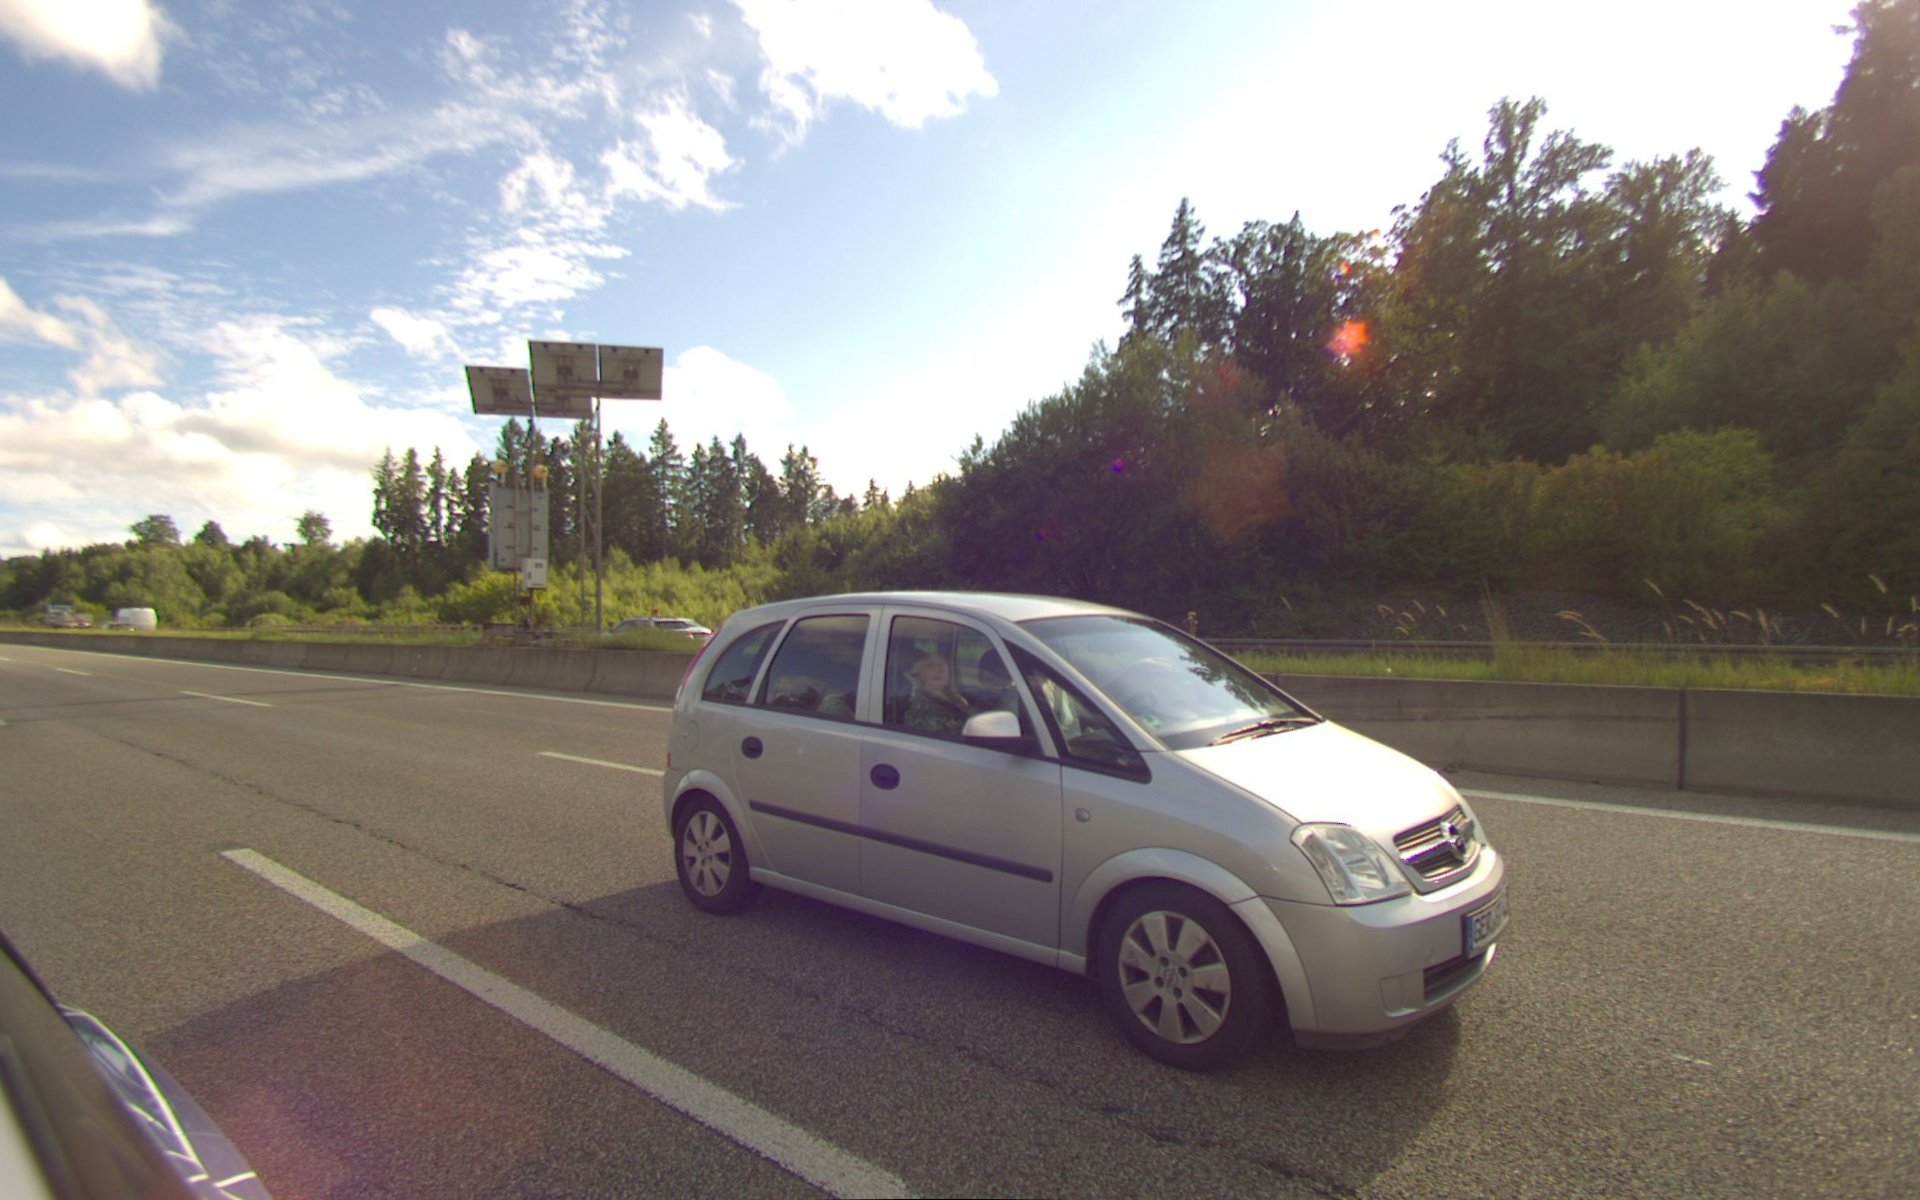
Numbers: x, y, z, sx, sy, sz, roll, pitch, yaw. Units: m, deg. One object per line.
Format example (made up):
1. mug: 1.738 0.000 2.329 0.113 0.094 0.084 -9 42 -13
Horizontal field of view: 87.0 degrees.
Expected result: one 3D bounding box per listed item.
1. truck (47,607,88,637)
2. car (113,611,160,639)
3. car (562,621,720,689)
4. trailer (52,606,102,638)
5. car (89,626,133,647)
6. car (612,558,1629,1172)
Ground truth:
1. truck: -115.336 2.836 130.731 7.119 3.867 3.082 -1 -1 41
2. car: -71.587 2.172 87.921 6.721 2.330 2.087 -1 -1 41
3. car: -11.171 1.833 35.221 5.963 2.155 2.552 -2 -1 42
4. trailer: -109.956 2.716 126.002 12.203 3.867 3.091 -1 -1 41
5. car: -63.704 2.715 75.943 3.999 1.464 1.972 -2 -1 42
6. car: 0.353 0.706 4.656 4.331 1.529 1.816 -2 -1 42
